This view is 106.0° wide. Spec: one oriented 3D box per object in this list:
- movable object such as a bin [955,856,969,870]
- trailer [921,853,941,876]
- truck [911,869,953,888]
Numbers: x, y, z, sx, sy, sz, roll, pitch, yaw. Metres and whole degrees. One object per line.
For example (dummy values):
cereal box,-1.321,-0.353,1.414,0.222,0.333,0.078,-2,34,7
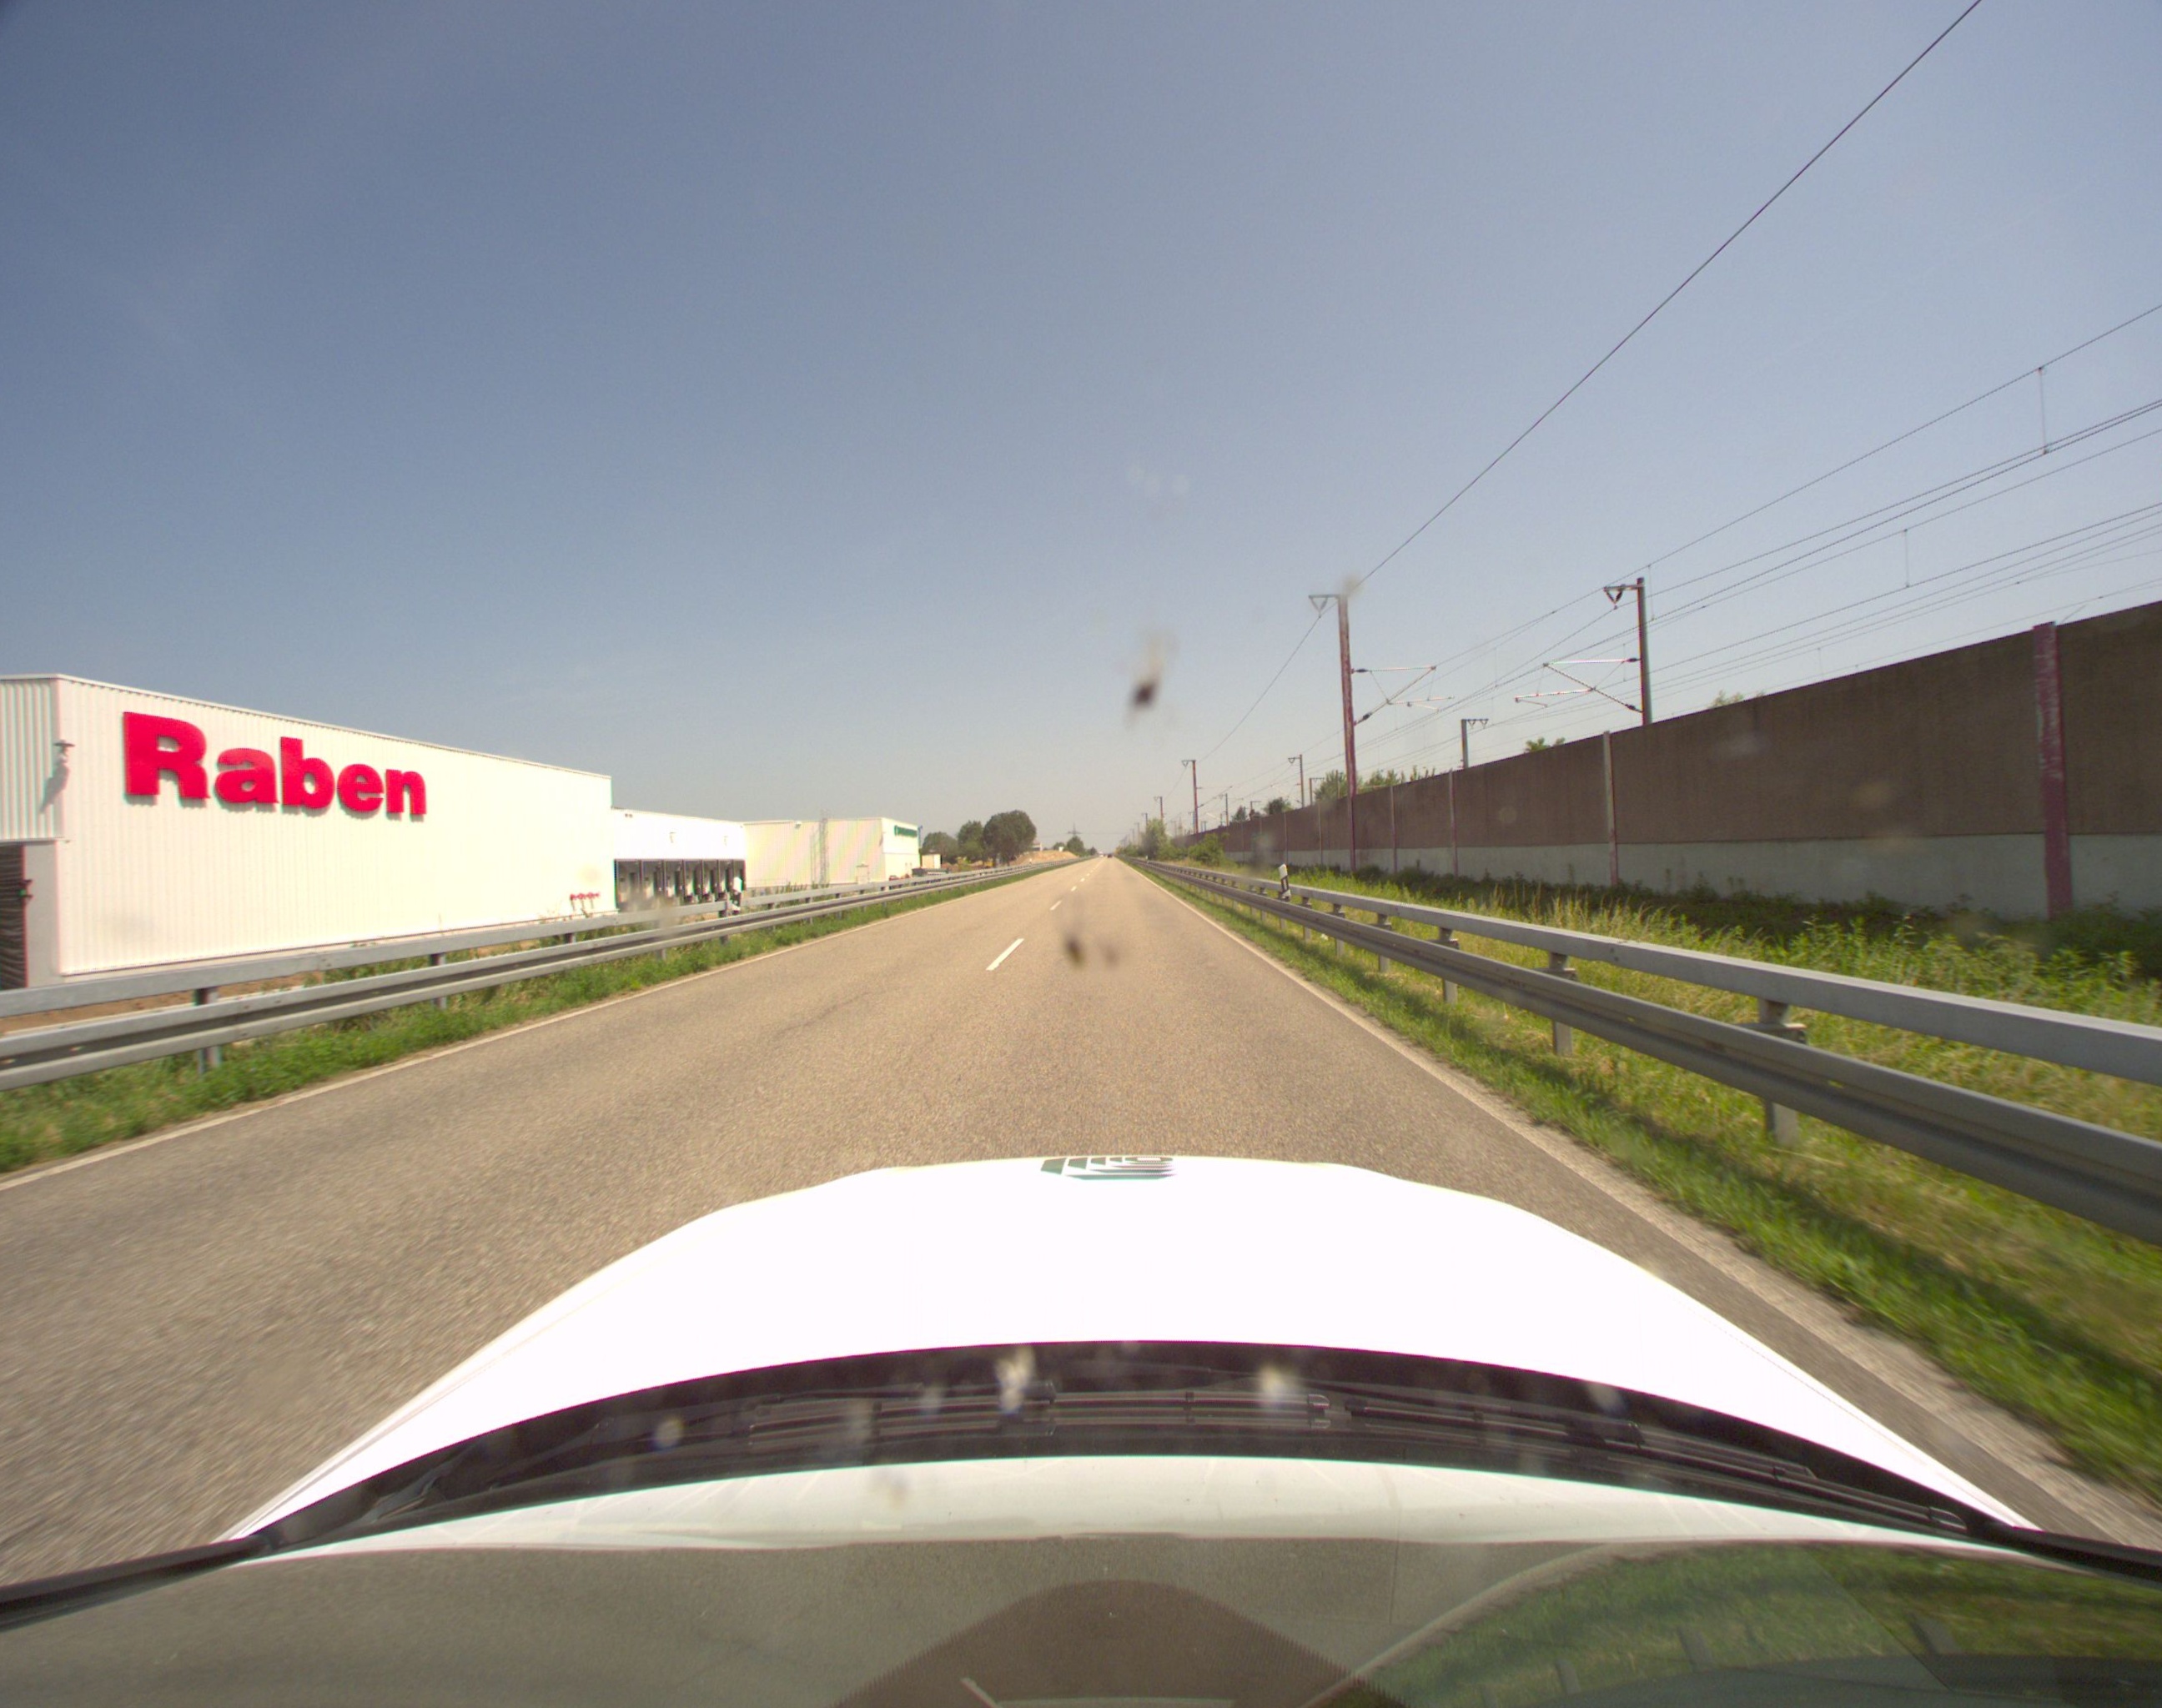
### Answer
movable object such as a bin,-31.777,2.410,217.391,2.627,3.652,5.429,-4,0,-17
trailer,-30.346,2.031,165.032,2.672,4.332,7.946,-1,0,-2
truck,-19.747,3.199,108.054,4.990,2.333,2.233,-1,0,1
